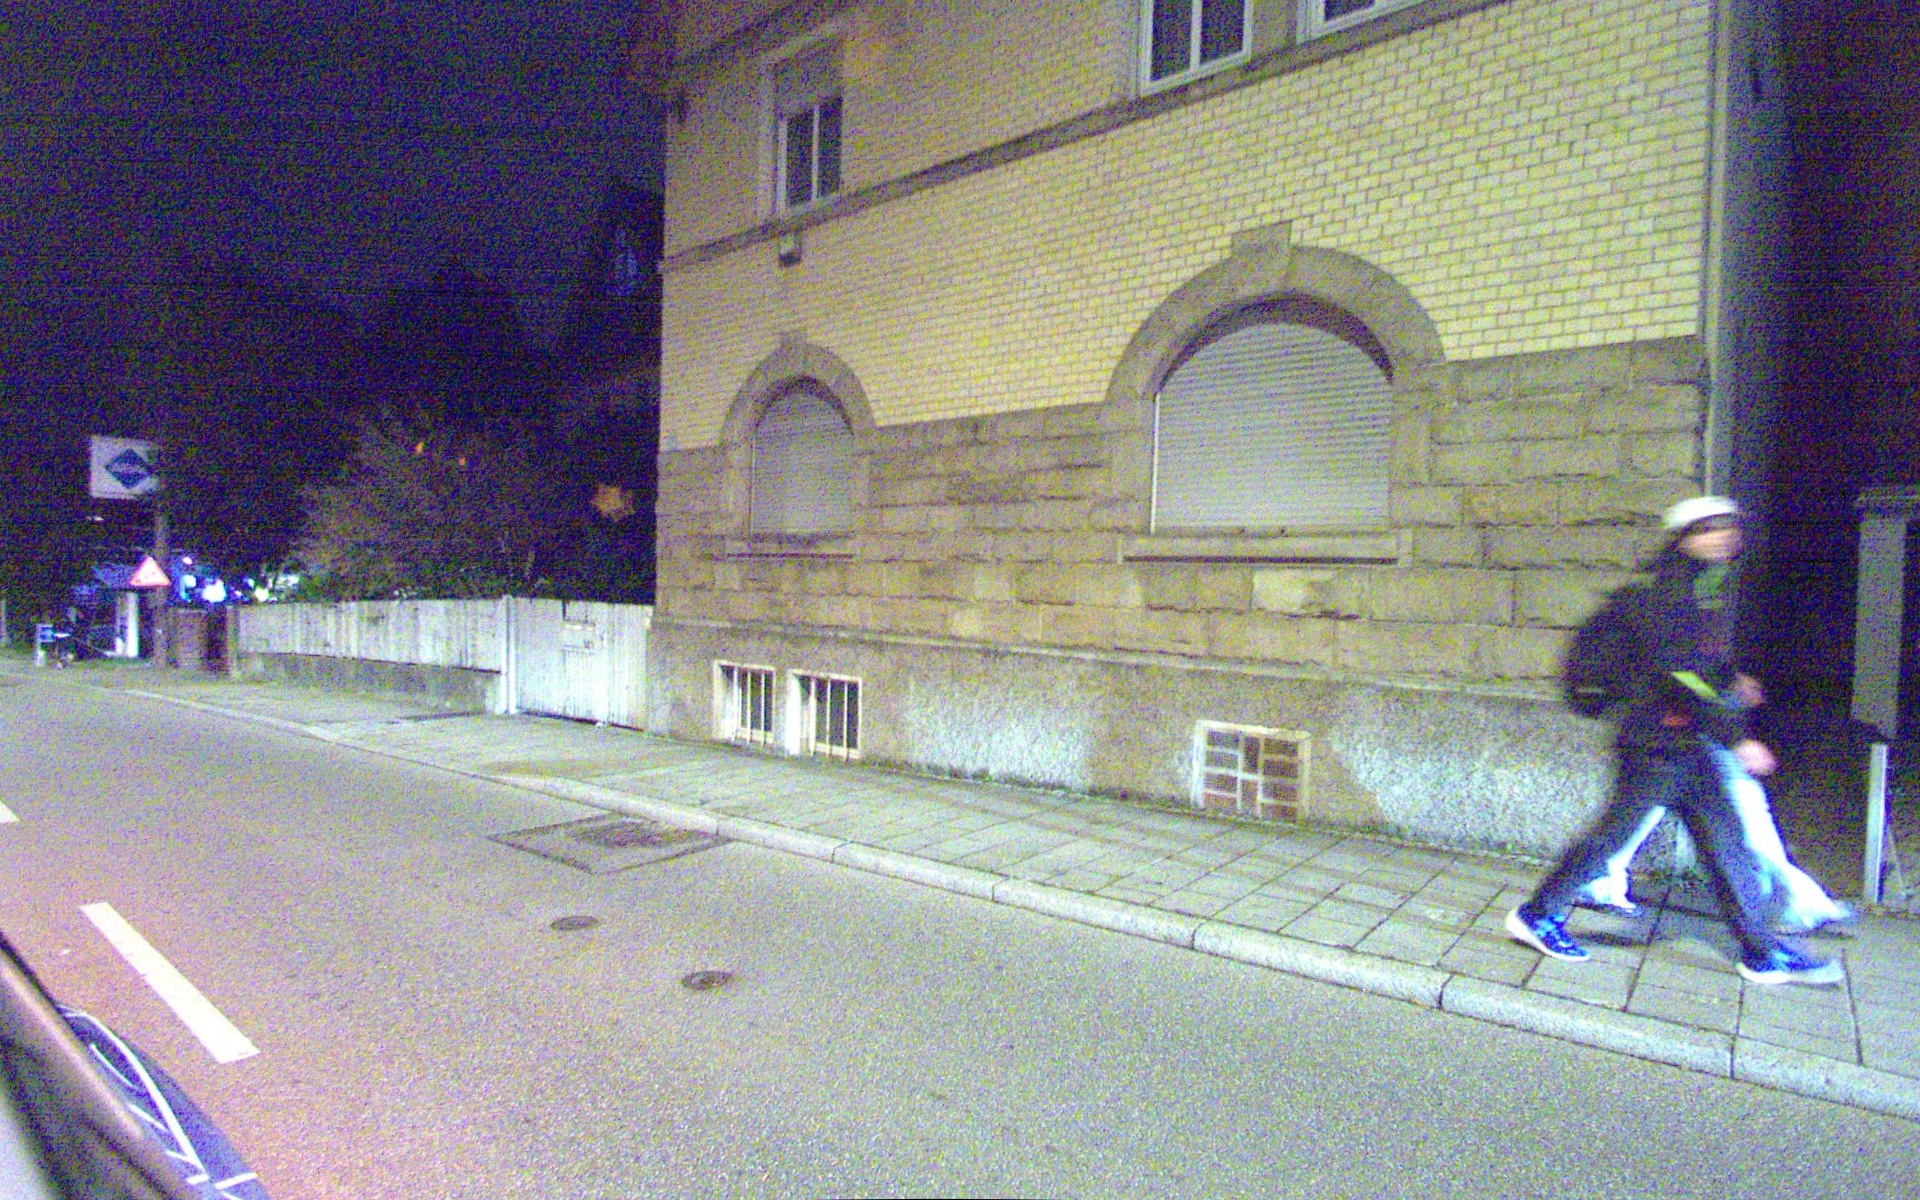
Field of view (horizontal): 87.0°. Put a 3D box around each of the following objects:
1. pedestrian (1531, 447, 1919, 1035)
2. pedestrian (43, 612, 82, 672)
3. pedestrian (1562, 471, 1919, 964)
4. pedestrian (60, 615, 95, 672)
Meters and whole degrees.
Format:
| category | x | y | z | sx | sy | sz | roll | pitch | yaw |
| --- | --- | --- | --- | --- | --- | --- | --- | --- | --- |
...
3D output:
| category | x | y | z | sx | sy | sz | roll | pitch | yaw |
| --- | --- | --- | --- | --- | --- | --- | --- | --- | --- |
| pedestrian | 2.694 | 0.424 | 3.614 | 1.028 | 1.758 | 0.668 | -1 | 0 | 40 |
| pedestrian | -25.838 | 1.200 | 29.138 | 1.103 | 1.684 | 0.734 | -1 | 0 | 43 |
| pedestrian | 3.229 | 0.421 | 4.242 | 1.102 | 1.758 | 0.734 | -1 | 0 | 40 |
| pedestrian | -27.570 | 1.336 | 31.617 | 0.865 | 1.739 | 0.662 | -1 | -1 | 38 |
